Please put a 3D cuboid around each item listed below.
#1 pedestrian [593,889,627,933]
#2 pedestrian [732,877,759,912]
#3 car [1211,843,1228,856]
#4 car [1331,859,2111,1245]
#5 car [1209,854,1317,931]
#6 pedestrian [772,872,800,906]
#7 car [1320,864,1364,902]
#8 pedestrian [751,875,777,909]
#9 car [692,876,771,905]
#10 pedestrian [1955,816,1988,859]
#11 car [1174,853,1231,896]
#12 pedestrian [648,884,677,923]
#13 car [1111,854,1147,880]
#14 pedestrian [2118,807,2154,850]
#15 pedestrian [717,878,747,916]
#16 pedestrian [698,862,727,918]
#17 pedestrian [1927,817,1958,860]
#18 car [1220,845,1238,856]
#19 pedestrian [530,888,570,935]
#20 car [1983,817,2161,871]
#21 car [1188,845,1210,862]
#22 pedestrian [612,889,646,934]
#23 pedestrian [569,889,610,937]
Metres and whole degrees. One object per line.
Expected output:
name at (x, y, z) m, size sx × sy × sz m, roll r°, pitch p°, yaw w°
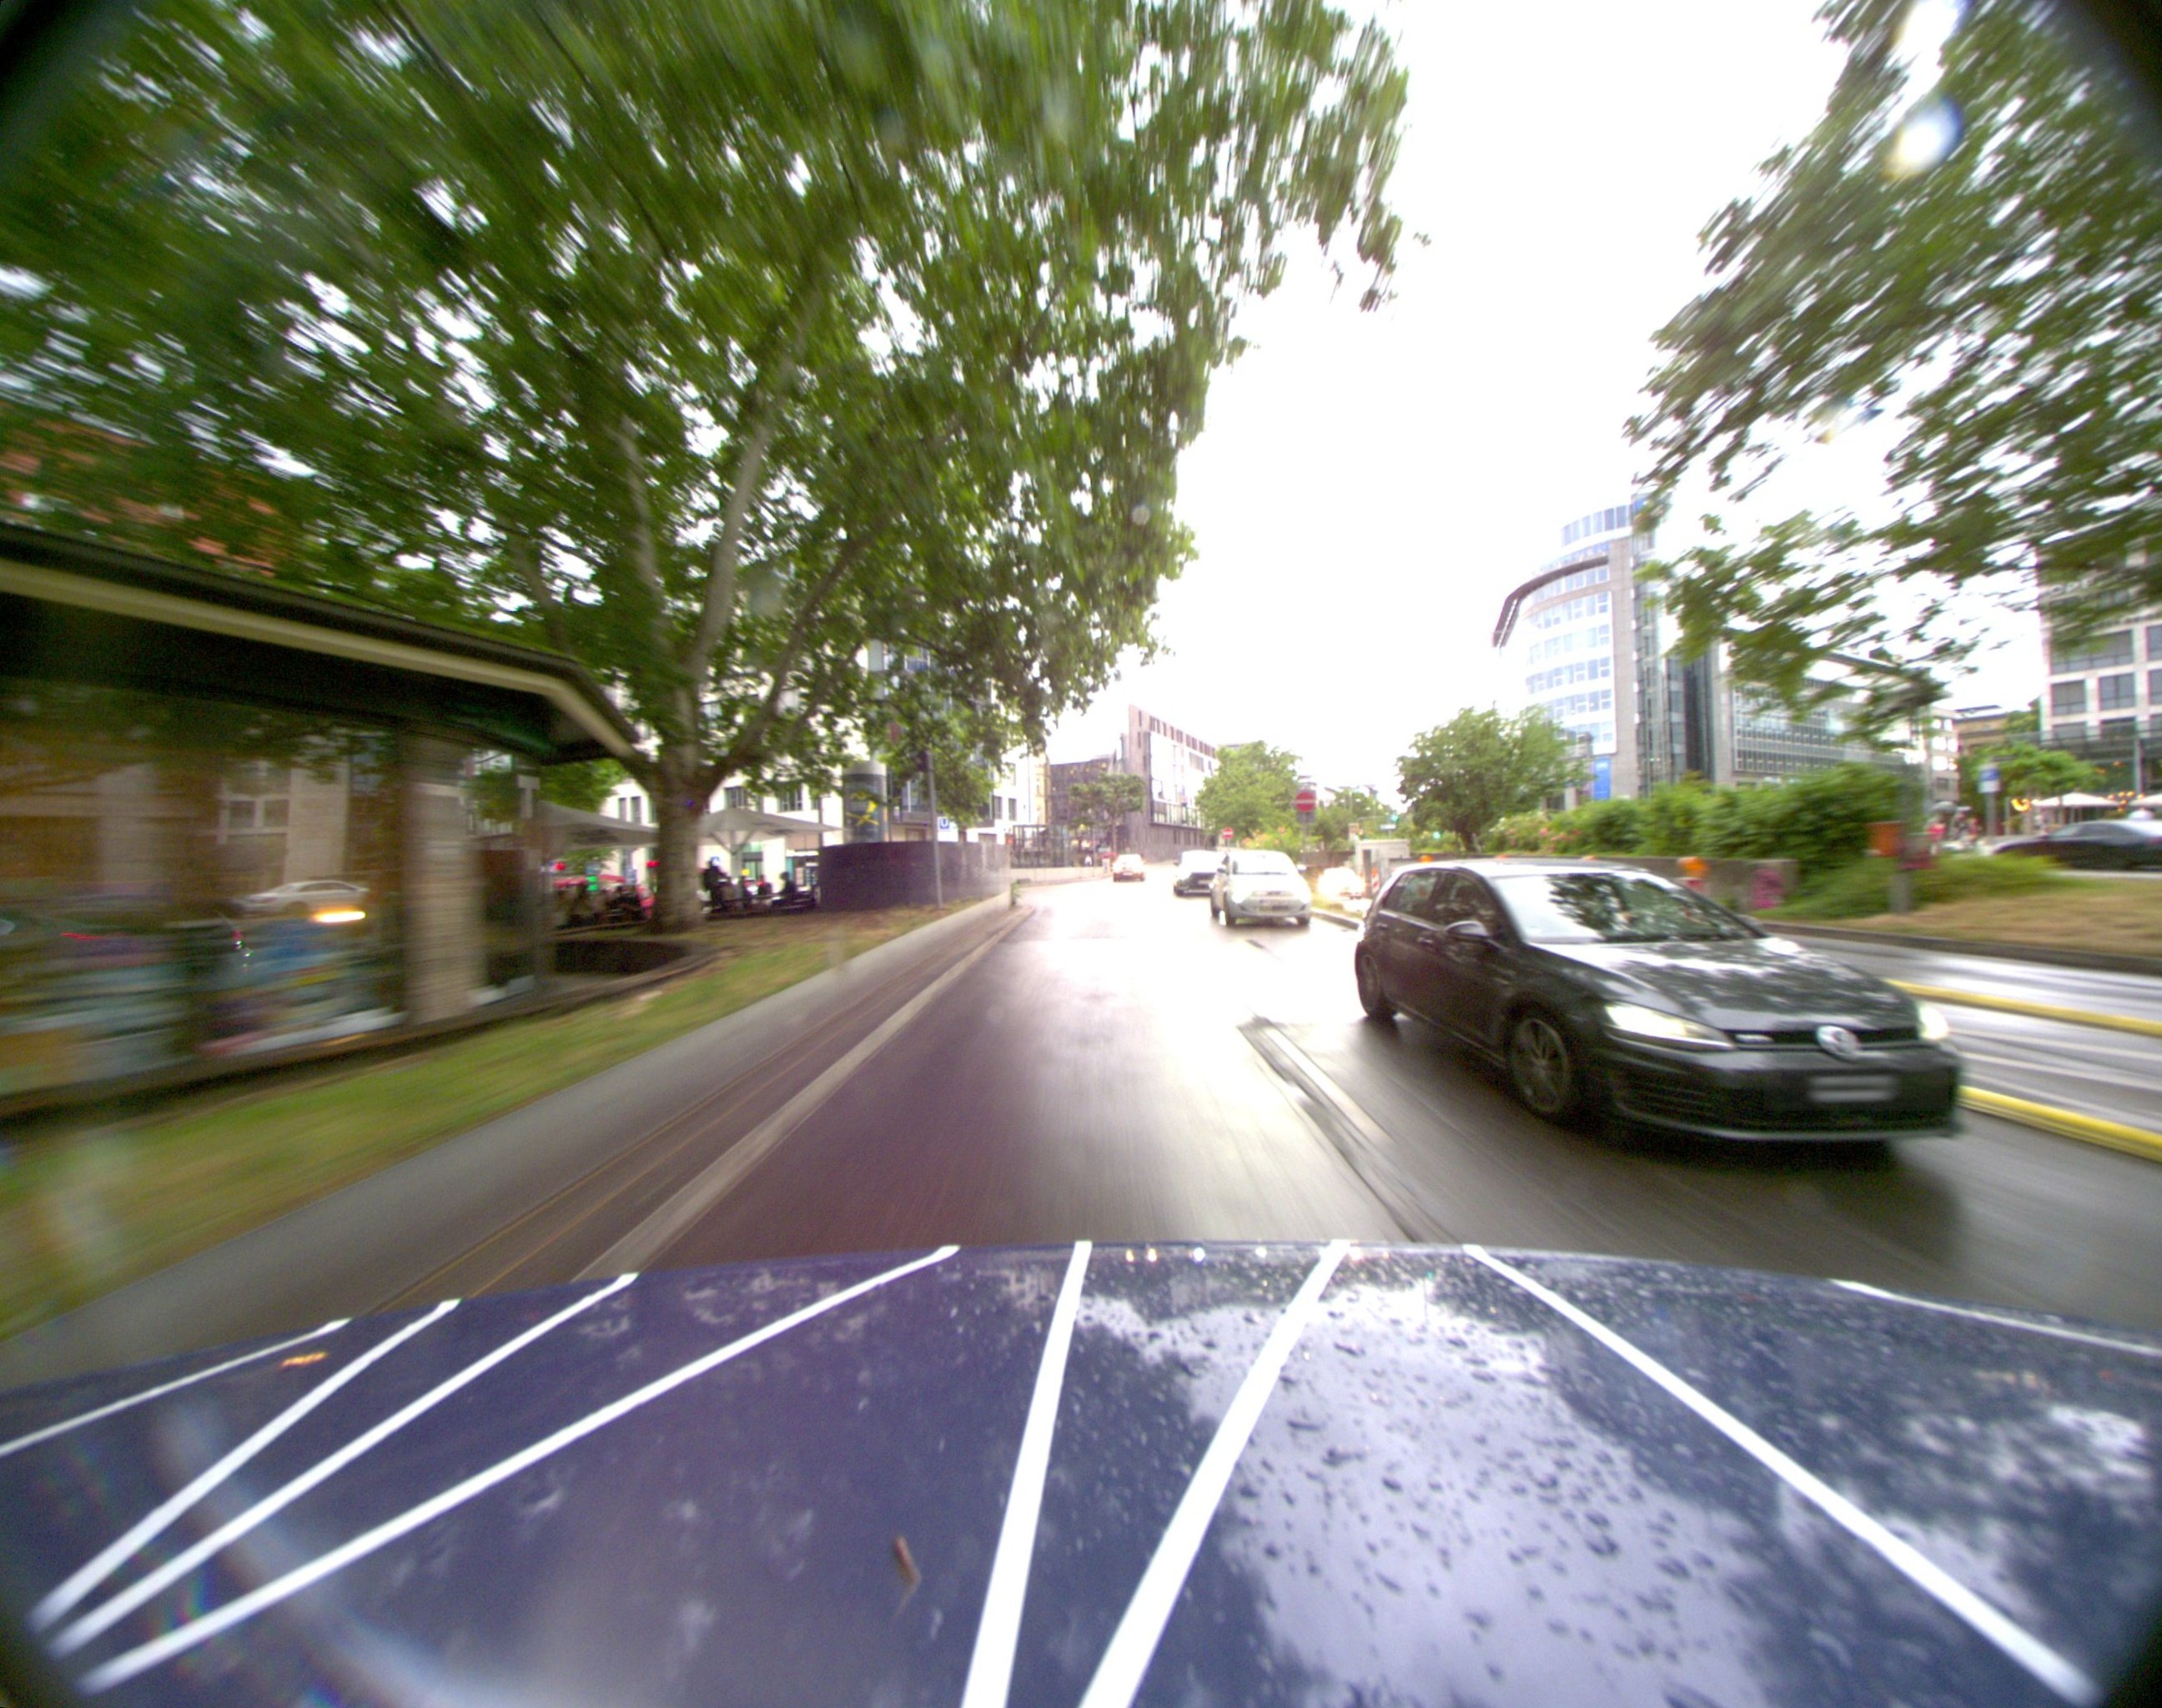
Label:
pedestrian at (-9.953, 1.188, 16.069) m, size 0.575 × 0.867 × 0.508 m, roll -2°, pitch 1°, yaw -30°
pedestrian at (-8.753, 1.040, 19.814) m, size 0.575 × 0.867 × 0.508 m, roll -2°, pitch 1°, yaw -30°
car at (20.239, -0.659, 110.811) m, size 1.996 × 1.734 × 3.914 m, roll -2°, pitch 0°, yaw 17°
car at (3.274, 0.817, 5.137) m, size 1.789 × 1.444 × 4.123 m, roll -3°, pitch 0°, yaw 1°
car at (3.765, 0.728, 16.237) m, size 1.611 × 1.433 × 3.494 m, roll -1°, pitch 0°, yaw 3°
pedestrian at (-7.808, 0.922, 20.115) m, size 0.575 × 0.867 × 0.508 m, roll -2°, pitch 1°, yaw -30°
car at (13.113, 1.430, 38.358) m, size 1.779 × 1.587 × 4.004 m, roll -2°, pitch 1°, yaw 15°
pedestrian at (-8.630, 1.021, 20.663) m, size 0.575 × 0.867 × 0.508 m, roll -2°, pitch 1°, yaw -30°
car at (-18.552, 1.921, 40.328) m, size 3.878 × 1.433 × 1.655 m, roll -1°, pitch 1°, yaw 25°
pedestrian at (37.818, -0.706, 32.260) m, size 0.748 × 1.779 × 0.473 m, roll -3°, pitch 1°, yaw 32°
car at (4.310, 0.689, 27.326) m, size 1.716 × 1.433 × 3.495 m, roll -1°, pitch 0°, yaw 4°
pedestrian at (-9.929, 1.156, 18.023) m, size 0.575 × 0.867 × 0.565 m, roll -2°, pitch 1°, yaw -30°
car at (2.662, 0.691, 41.253) m, size 1.715 × 1.274 × 3.496 m, roll -2°, pitch 1°, yaw 7°
pedestrian at (40.811, -0.996, 29.389) m, size 0.578 × 1.618 × 0.563 m, roll -2°, pitch 2°, yaw 7°
pedestrian at (-8.649, 1.053, 18.820) m, size 0.575 × 0.867 × 0.741 m, roll -2°, pitch 1°, yaw -30°
pedestrian at (-8.573, 0.828, 17.689) m, size 0.531 × 1.269 × 0.403 m, roll -3°, pitch 2°, yaw -29°
pedestrian at (37.162, -0.658, 32.793) m, size 0.748 × 1.779 × 0.424 m, roll -3°, pitch 1°, yaw 32°
car at (23.484, -0.554, 120.257) m, size 1.995 × 1.734 × 3.915 m, roll -2°, pitch 0°, yaw 22°
pedestrian at (-10.553, 1.141, 15.117) m, size 0.575 × 0.867 × 0.508 m, roll -2°, pitch 1°, yaw -30°
car at (31.766, -0.351, 23.698) m, size 2.010 × 1.525 × 4.712 m, roll -2°, pitch 1°, yaw 7°
car at (12.469, -0.074, 79.889) m, size 1.997 × 1.734 × 3.913 m, roll -2°, pitch 0°, yaw 12°
pedestrian at (-9.334, 1.178, 15.709) m, size 0.575 × 0.867 × 0.508 m, roll -2°, pitch 1°, yaw -30°
pedestrian at (-9.688, 1.151, 15.003) m, size 0.627 × 0.867 × 0.508 m, roll -2°, pitch 1°, yaw -30°
